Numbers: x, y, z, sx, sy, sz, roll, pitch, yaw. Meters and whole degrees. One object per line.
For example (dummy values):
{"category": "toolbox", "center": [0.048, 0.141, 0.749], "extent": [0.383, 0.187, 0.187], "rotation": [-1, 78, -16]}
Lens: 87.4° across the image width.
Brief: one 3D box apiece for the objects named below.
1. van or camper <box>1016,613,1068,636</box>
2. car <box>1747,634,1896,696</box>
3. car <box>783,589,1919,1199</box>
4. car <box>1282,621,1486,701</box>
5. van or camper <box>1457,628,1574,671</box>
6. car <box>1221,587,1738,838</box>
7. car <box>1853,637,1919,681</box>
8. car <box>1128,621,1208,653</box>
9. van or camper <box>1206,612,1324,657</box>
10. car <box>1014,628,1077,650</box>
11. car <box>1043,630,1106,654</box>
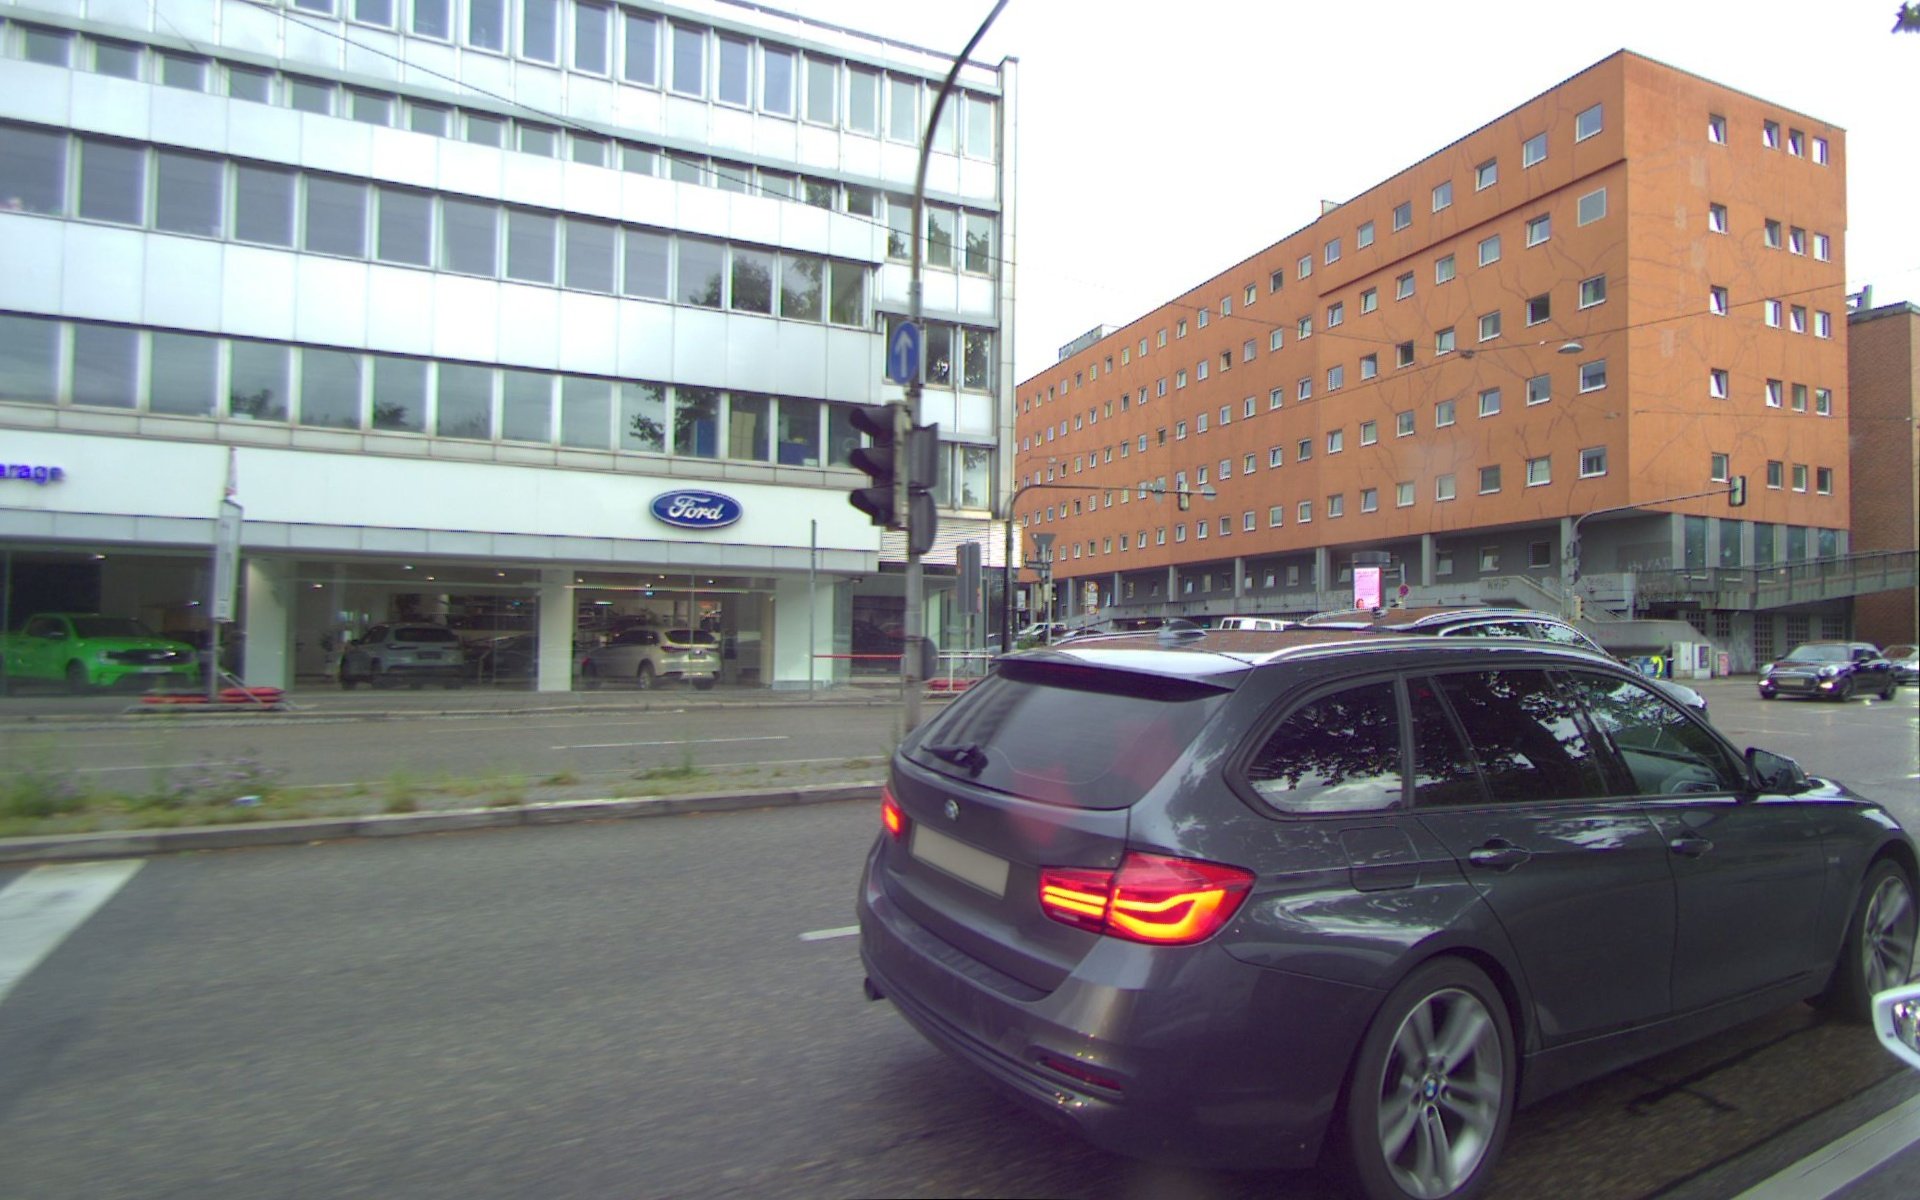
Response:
{"category": "van or camper", "center": [7.649, 2.310, 93.681], "extent": [4.314, 2.004, 1.963], "rotation": [2, 1, -23]}
{"category": "car", "center": [21.617, 1.599, 25.187], "extent": [3.816, 1.455, 1.675], "rotation": [2, -2, -30]}
{"category": "car", "center": [1.754, 0.792, 3.719], "extent": [4.423, 1.477, 1.769], "rotation": [2, -2, -29]}
{"category": "car", "center": [9.514, 1.326, 22.477], "extent": [4.401, 1.631, 1.882], "rotation": [2, -1, -29]}
{"category": "van or camper", "center": [22.982, 2.013, 41.703], "extent": [1.888, 1.649, 3.977], "rotation": [1, -1, -24]}
{"category": "car", "center": [4.550, 0.817, 8.665], "extent": [4.390, 1.678, 1.801], "rotation": [2, 1, -29]}
{"category": "car", "center": [33.930, 2.092, 35.932], "extent": [3.991, 1.484, 1.702], "rotation": [2, -2, -28]}
{"category": "car", "center": [11.466, 2.033, 55.274], "extent": [4.029, 1.633, 1.705], "rotation": [2, 1, -23]}
{"category": "van or camper", "center": [14.824, 1.675, 48.723], "extent": [5.378, 2.004, 2.120], "rotation": [2, 1, -24]}
{"category": "car", "center": [5.563, 2.535, 65.553], "extent": [3.816, 1.311, 1.656], "rotation": [2, -1, -12]}
{"category": "car", "center": [6.926, 2.554, 60.991], "extent": [3.460, 1.311, 1.532], "rotation": [2, -1, -12]}
